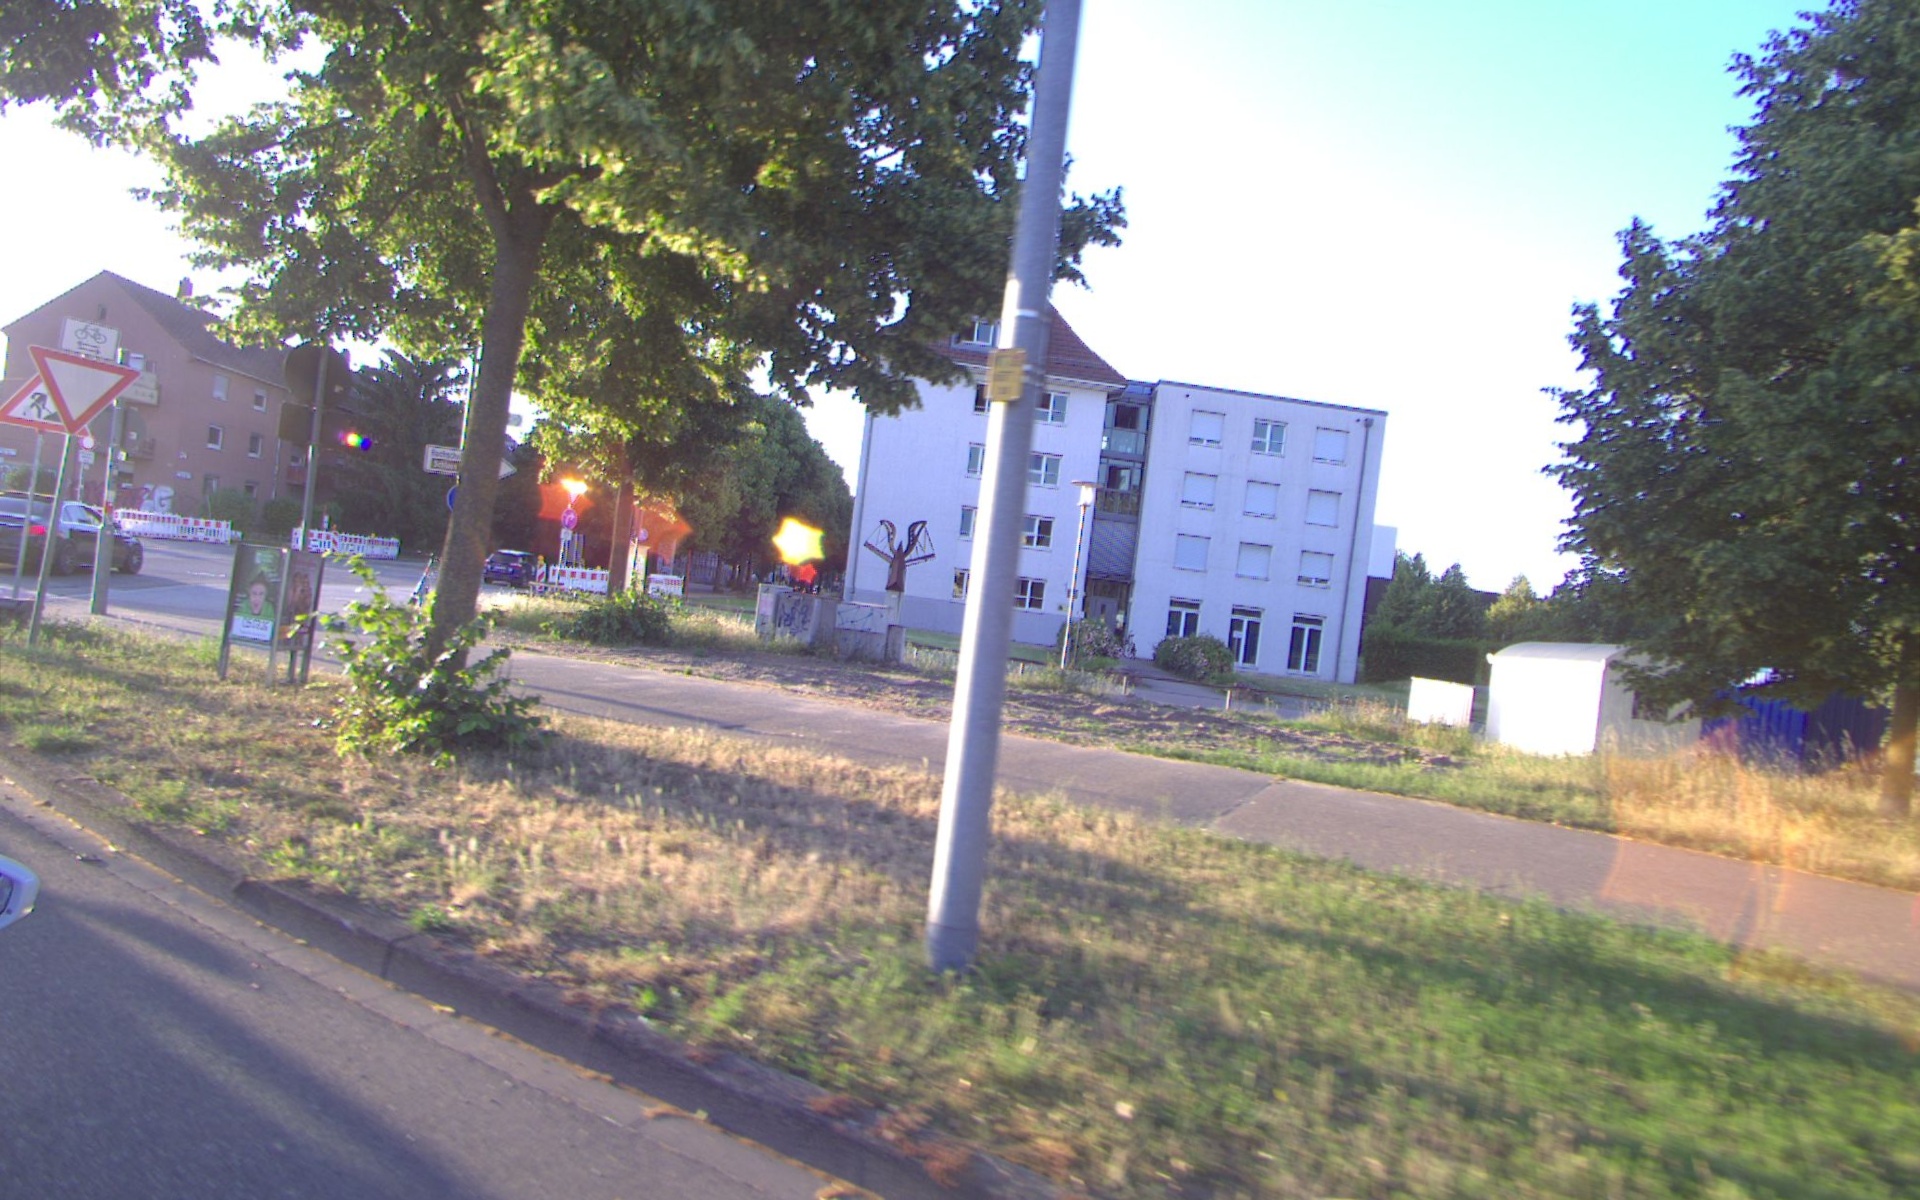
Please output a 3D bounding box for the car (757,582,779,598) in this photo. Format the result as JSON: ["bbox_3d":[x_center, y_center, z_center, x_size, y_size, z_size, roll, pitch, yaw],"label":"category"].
[{"bbox_3d":[-23.504,-1.213,123.237,1.923,1.621,4.075,8,-1,-4],"label":"car"}]

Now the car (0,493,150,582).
[{"bbox_3d":[-17.797,-1.236,19.313,1.929,1.444,4.411,8,0,-18],"label":"car"}]

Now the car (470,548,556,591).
[{"bbox_3d":[-20.400,-1.375,46.115,1.922,1.622,4.075,8,1,0],"label":"car"}]

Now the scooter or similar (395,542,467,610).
[{"bbox_3d":[-10.887,-0.489,20.730,0.435,1.253,1.120,8,0,36],"label":"scooter or similar"}]
